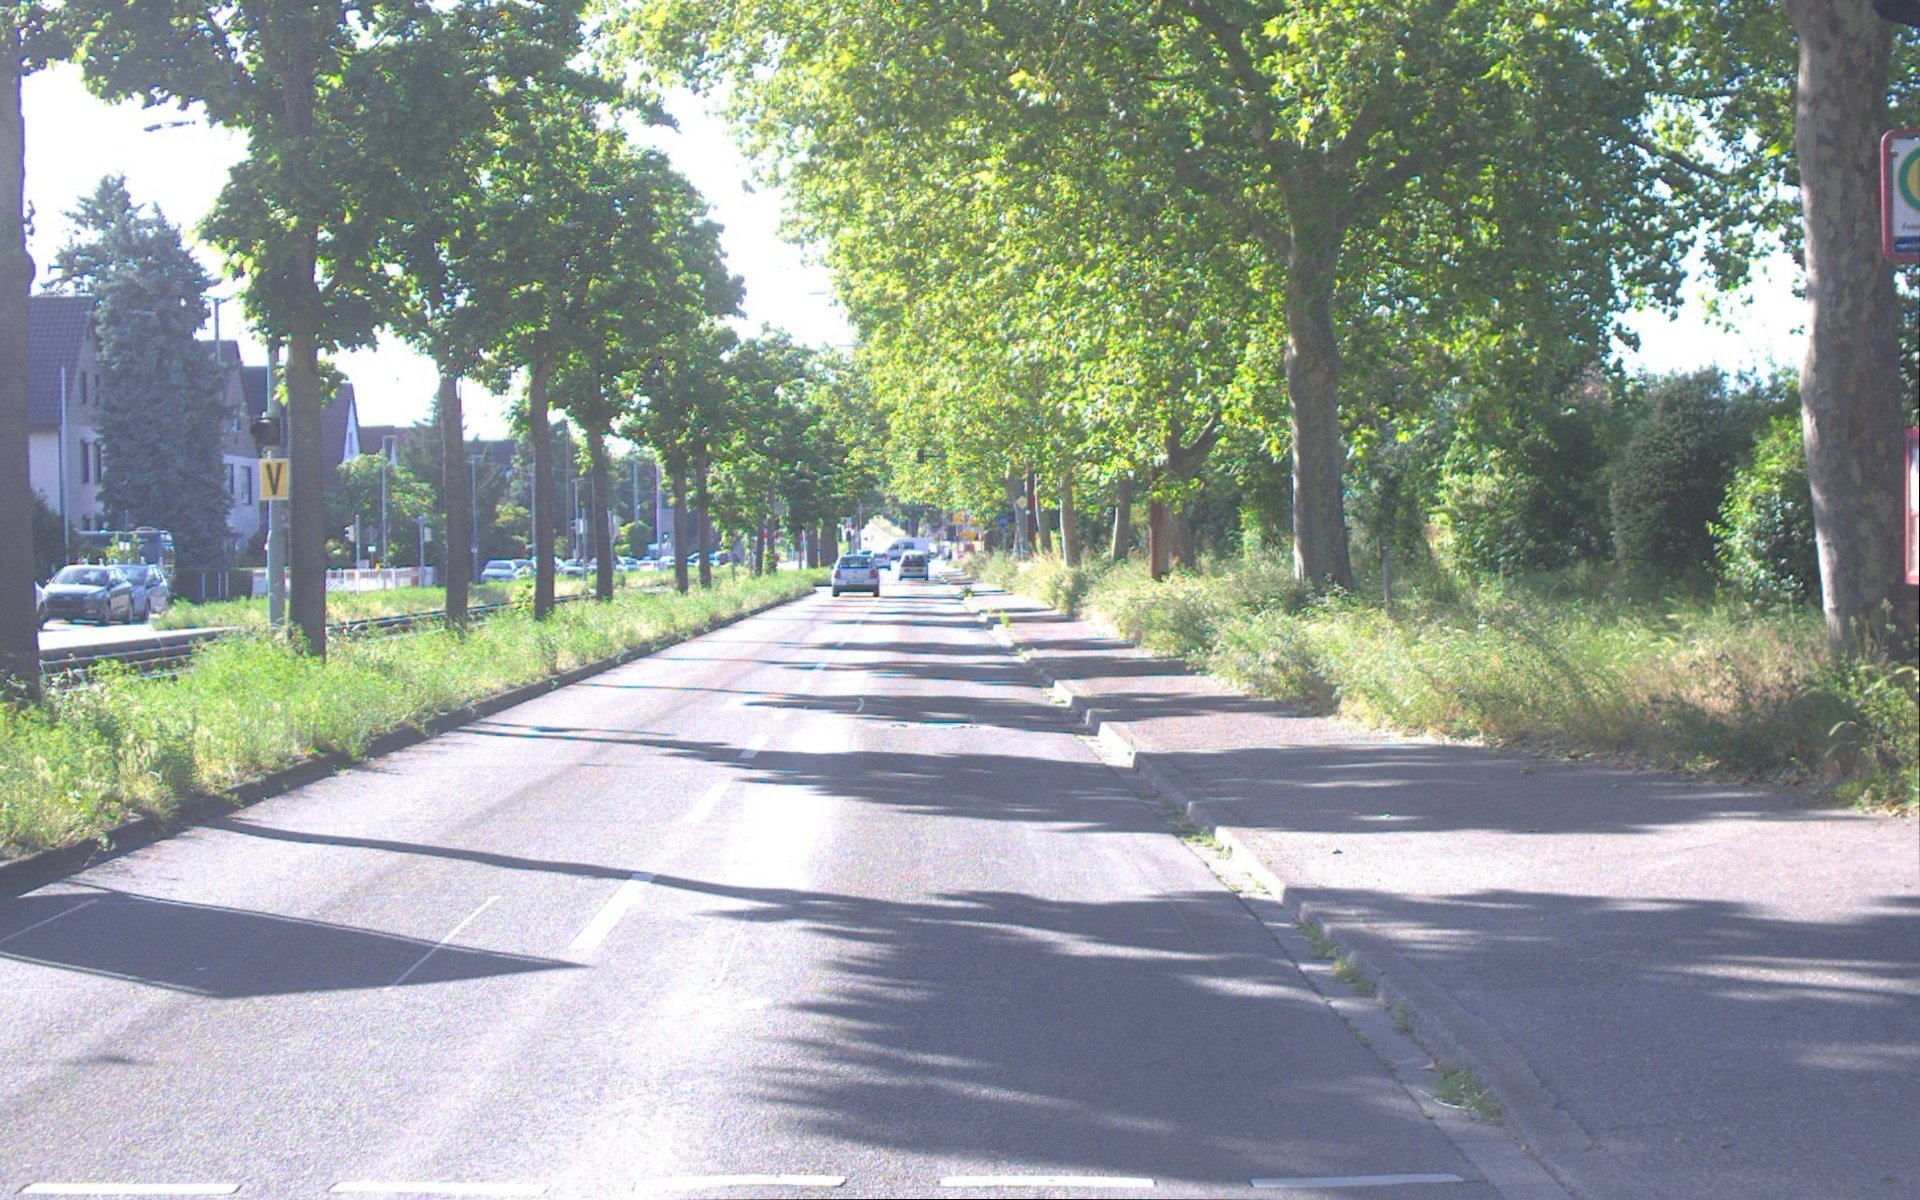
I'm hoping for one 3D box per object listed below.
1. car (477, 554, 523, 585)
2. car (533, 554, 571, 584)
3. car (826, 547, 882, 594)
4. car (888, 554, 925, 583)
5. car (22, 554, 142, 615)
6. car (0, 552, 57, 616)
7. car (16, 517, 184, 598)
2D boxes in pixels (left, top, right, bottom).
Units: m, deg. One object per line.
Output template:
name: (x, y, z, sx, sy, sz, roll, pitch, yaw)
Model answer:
car: (-23.626, -1.572, 176.769, 1.860, 1.537, 4.228, 0, 1, -1)
car: (-23.432, -1.788, 197.583, 1.748, 1.645, 4.555, 0, 1, -1)
car: (-3.647, -1.017, 118.477, 1.860, 1.595, 4.228, 0, 1, -1)
car: (-2.962, -1.742, 190.693, 1.993, 1.598, 4.473, 0, 1, -1)
car: (-22.461, -0.408, 88.076, 1.993, 1.445, 4.128, 3, 1, -1)
car: (-22.445, -0.389, 79.285, 1.993, 1.421, 4.410, 0, 1, 1)
car: (-28.515, -1.418, 114.105, 5.028, 2.616, 2.102, -1, 1, 0)
